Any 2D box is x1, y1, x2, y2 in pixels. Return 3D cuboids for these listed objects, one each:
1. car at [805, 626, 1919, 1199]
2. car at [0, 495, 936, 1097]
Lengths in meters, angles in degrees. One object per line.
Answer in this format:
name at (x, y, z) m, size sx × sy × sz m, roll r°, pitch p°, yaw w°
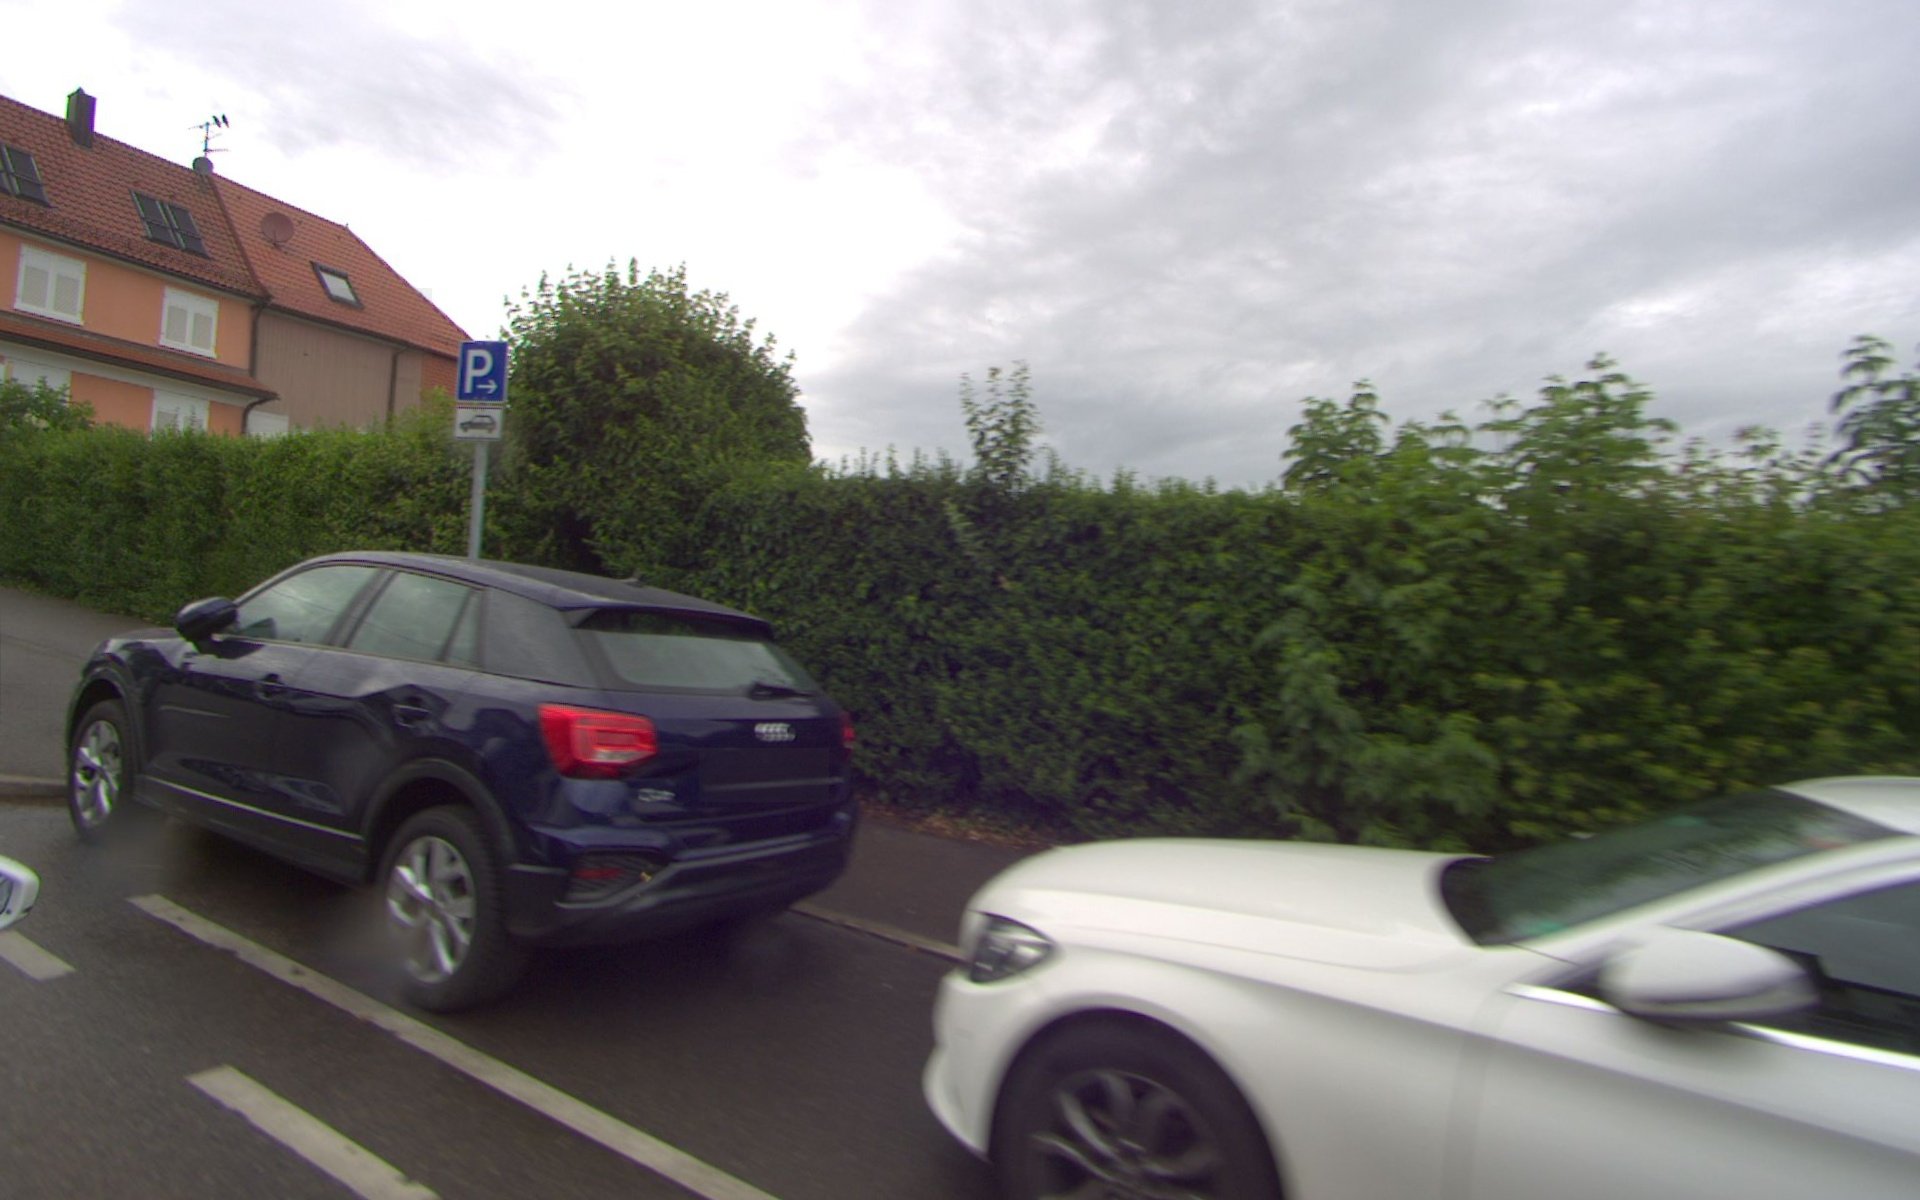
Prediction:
car at (2.054, 1.081, 2.227) m, size 4.529 × 1.422 × 1.717 m, roll 7°, pitch 0°, yaw 29°
car at (-2.401, 0.527, 4.672) m, size 4.134 × 1.548 × 1.757 m, roll 6°, pitch -1°, yaw 29°
